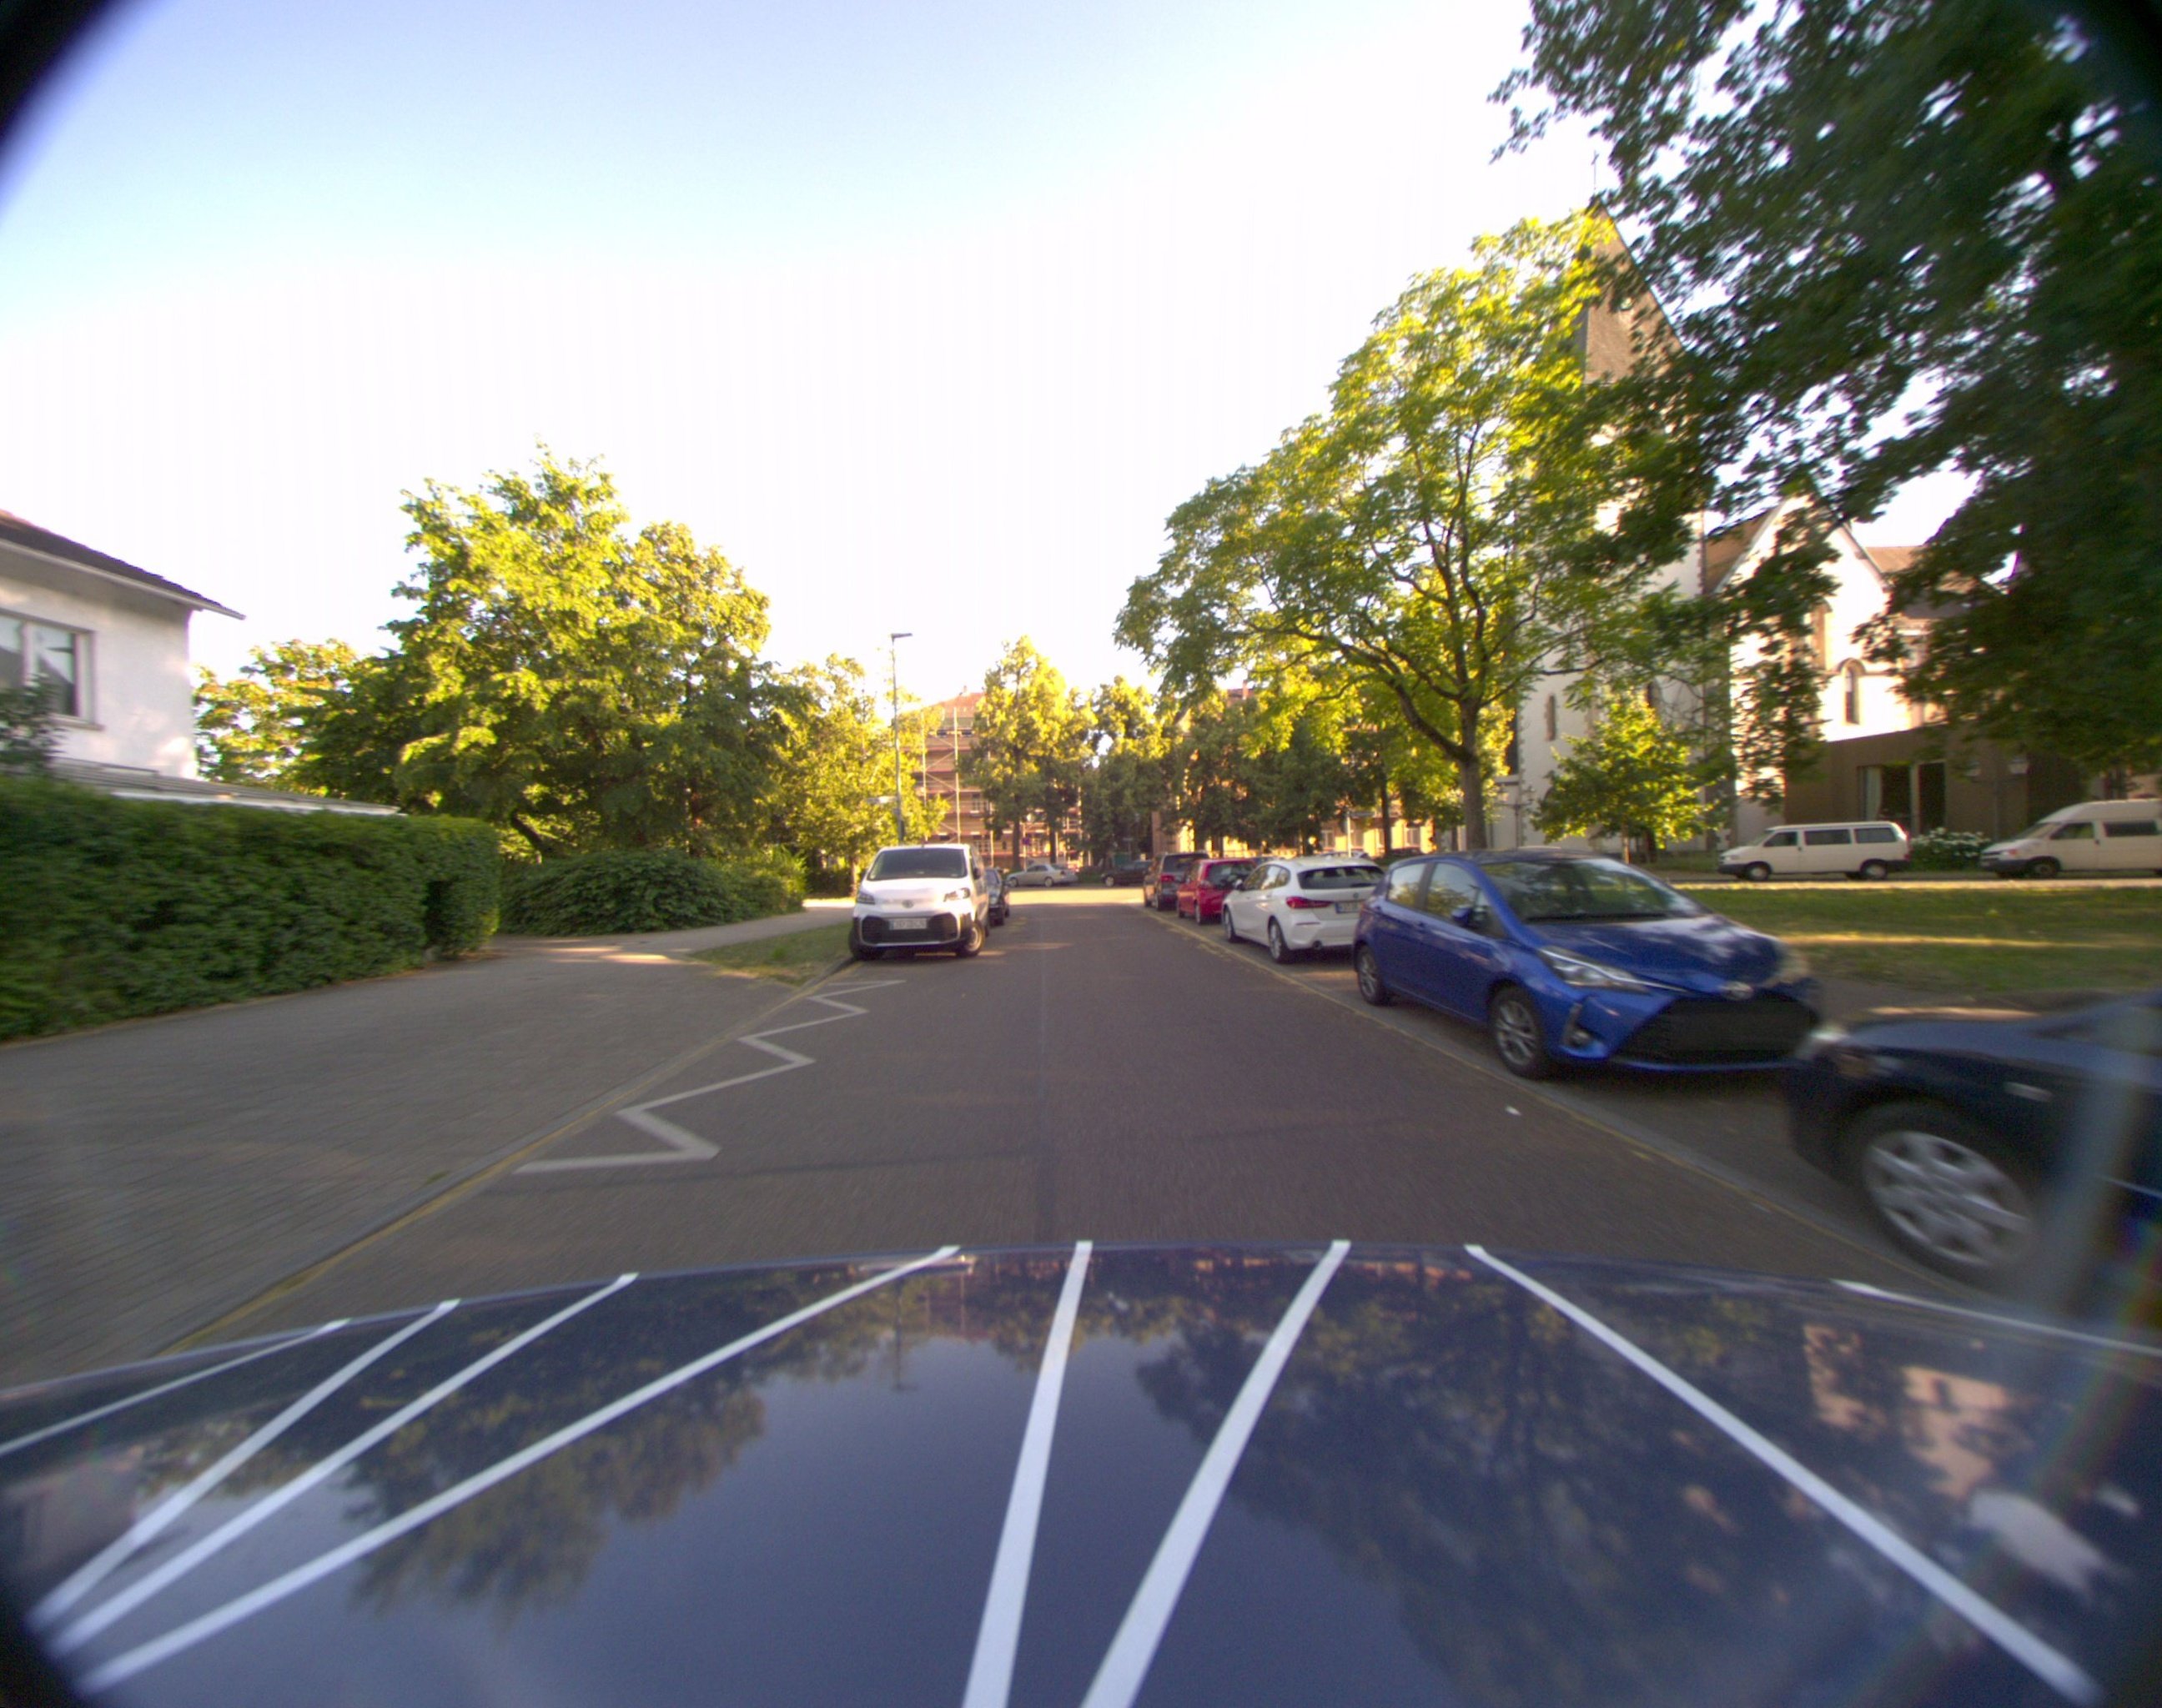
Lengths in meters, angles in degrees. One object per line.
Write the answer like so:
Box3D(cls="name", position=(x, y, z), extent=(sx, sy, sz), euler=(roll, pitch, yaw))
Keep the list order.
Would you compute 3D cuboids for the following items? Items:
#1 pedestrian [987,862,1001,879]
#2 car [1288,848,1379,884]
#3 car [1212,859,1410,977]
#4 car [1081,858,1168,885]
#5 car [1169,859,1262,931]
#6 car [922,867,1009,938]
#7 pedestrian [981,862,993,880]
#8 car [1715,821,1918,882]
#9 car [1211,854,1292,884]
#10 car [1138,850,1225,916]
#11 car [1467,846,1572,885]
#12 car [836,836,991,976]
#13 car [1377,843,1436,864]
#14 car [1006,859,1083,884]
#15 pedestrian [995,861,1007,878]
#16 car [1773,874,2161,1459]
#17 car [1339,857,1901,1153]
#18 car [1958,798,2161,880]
Box3D(cls="pedestrian", position=(-6.425, 1.205, 56.071), extent=(0.554, 1.188, 0.882), euler=(-2, 0, -40))
Box3D(cls="car", position=(11.807, 0.571, 35.526), extent=(3.687, 1.570, 1.713), euler=(-2, 0, 32))
Box3D(cls="car", position=(3.318, 0.844, 11.813), extent=(1.695, 1.398, 3.974), euler=(-4, 0, -2))
Box3D(cls="car", position=(2.387, 1.000, 42.095), extent=(4.483, 1.407, 1.835), euler=(-2, -2, 34))
Box3D(cls="car", position=(3.068, 0.885, 17.924), extent=(1.391, 1.415, 3.426), euler=(-4, 0, -2))
Box3D(cls="car", position=(-2.811, 1.123, 19.465), extent=(1.770, 1.459, 4.863), euler=(-2, 0, -4))
Box3D(cls="pedestrian", position=(-6.847, 1.206, 55.325), extent=(0.554, 1.290, 0.764), euler=(-2, 0, -40))
Box3D(cls="car", position=(25.654, -0.049, 26.796), extent=(4.828, 1.935, 1.861), euler=(-2, 0, 32))
Box3D(cls="car", position=(8.508, 0.756, 37.972), extent=(3.596, 1.431, 1.621), euler=(-2, -1, 34))
Box3D(cls="car", position=(2.858, 0.786, 22.555), extent=(1.806, 1.666, 4.320), euler=(-4, 0, -2))
Box3D(cls="car", position=(18.201, 0.502, 31.586), extent=(3.687, 1.492, 1.624), euler=(-2, 0, 32))
Box3D(cls="car", position=(-2.773, 0.772, 13.812), extent=(1.958, 2.002, 5.151), euler=(-2, 0, -4))
Box3D(cls="car", position=(27.875, -0.063, 65.154), extent=(4.218, 1.646, 1.891), euler=(-2, 0, -4))
Box3D(cls="car", position=(-2.229, 1.089, 45.651), extent=(4.485, 1.407, 1.789), euler=(-2, -2, 37))
Box3D(cls="pedestrian", position=(-5.931, 1.169, 56.392), extent=(0.554, 1.225, 0.723), euler=(-2, 0, -40))
Box3D(cls="car", position=(3.631, 0.847, 1.161), extent=(1.555, 1.486, 3.943), euler=(-2, 0, 1))
Box3D(cls="car", position=(3.567, 0.825, 5.977), extent=(1.643, 1.487, 3.704), euler=(-4, 0, -2))
Box3D(cls="car", position=(31.325, -0.441, 23.490), extent=(5.173, 2.342, 1.860), euler=(-2, 0, 27))
